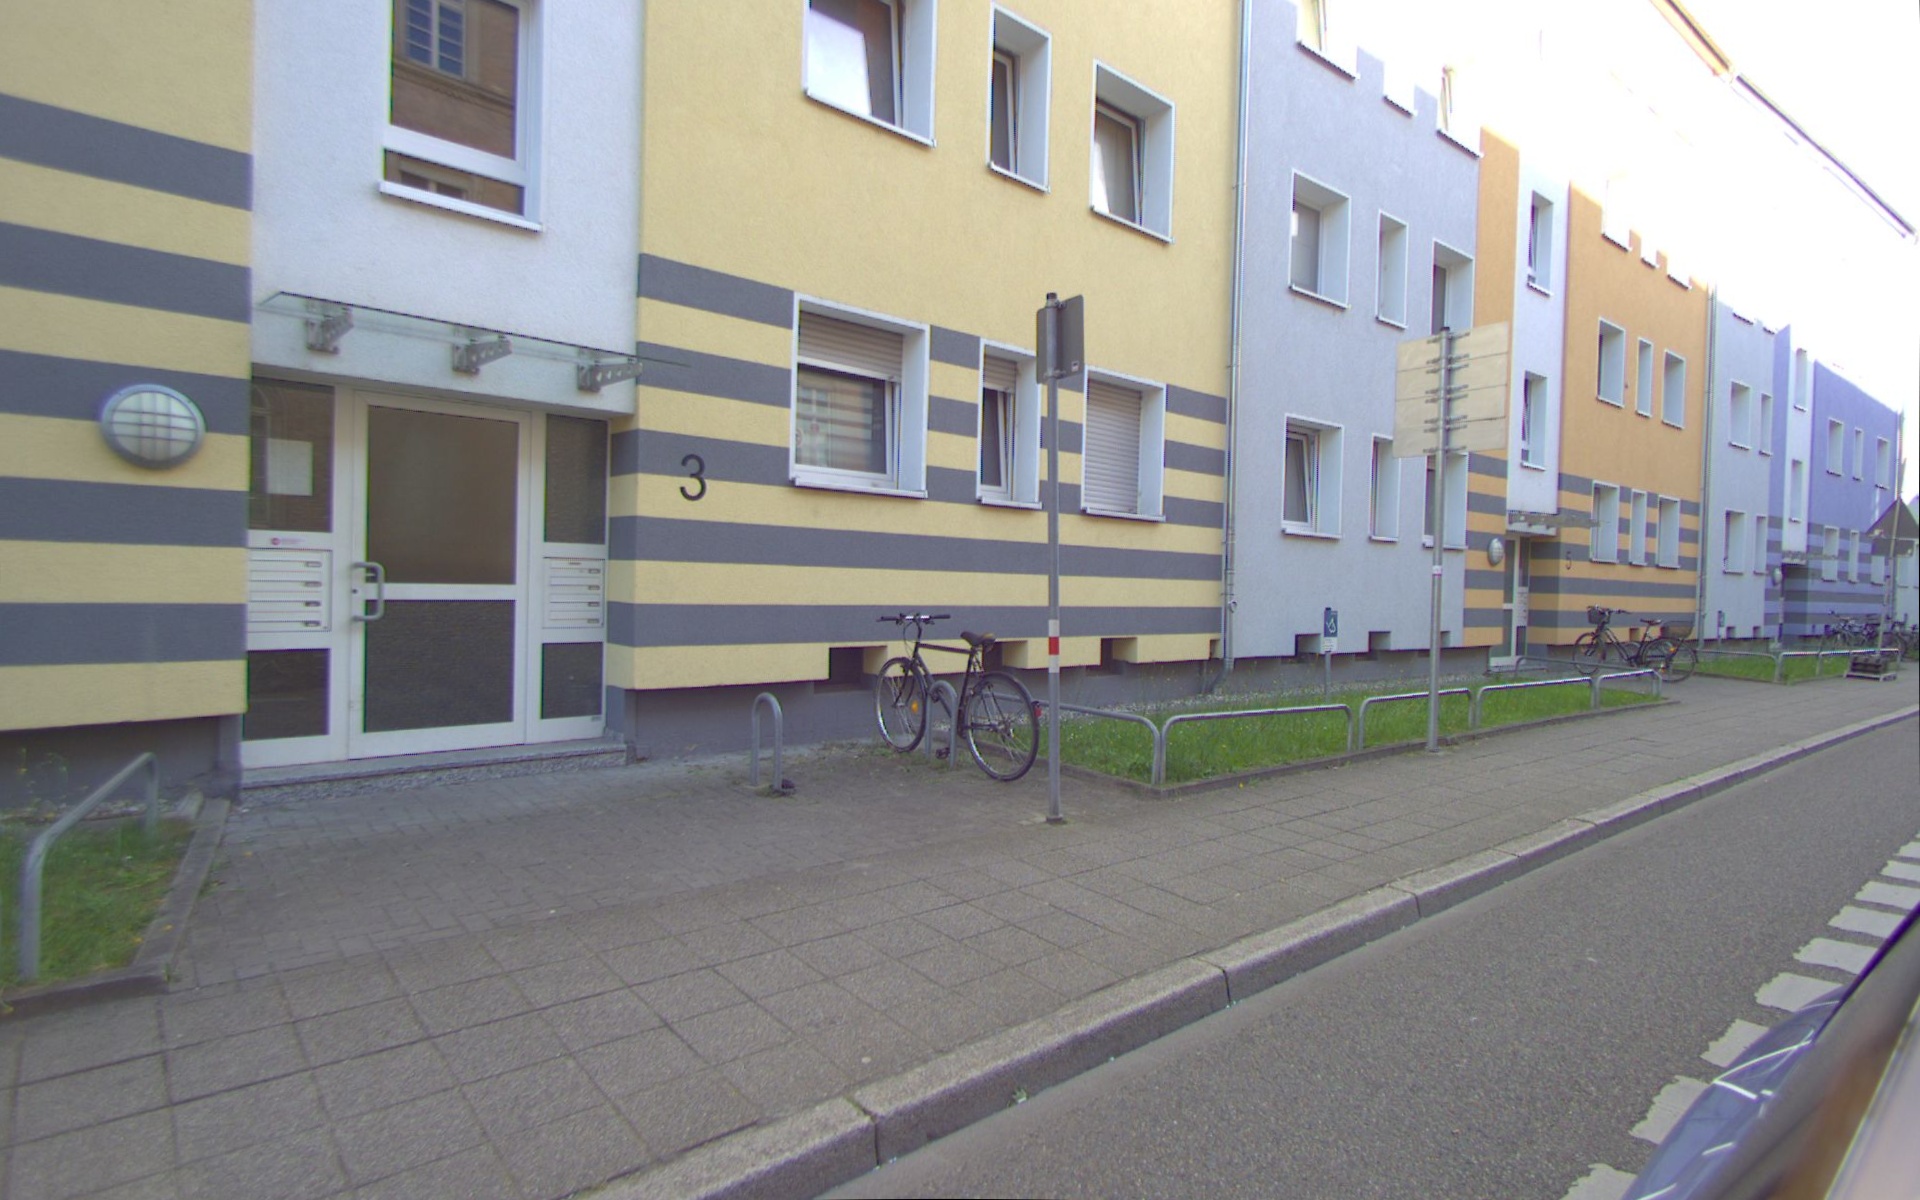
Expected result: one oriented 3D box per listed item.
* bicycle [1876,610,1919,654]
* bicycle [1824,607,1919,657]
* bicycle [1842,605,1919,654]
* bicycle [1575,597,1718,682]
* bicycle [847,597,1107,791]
[{"bbox_3d":[24.172,0.821,25.355,0.625,1.048,1.709,1,3,-42],"label":"bicycle"},{"bbox_3d":[22.284,0.759,24.685,0.624,1.058,1.711,1,2,-39],"label":"bicycle"},{"bbox_3d":[23.253,0.730,25.280,0.625,1.095,1.711,1,3,-40],"label":"bicycle"},{"bbox_3d":[10.744,0.582,15.882,0.625,1.173,1.709,1,3,-42],"label":"bicycle"},{"bbox_3d":[0.049,0.567,7.063,0.625,1.074,1.946,1,3,-42],"label":"bicycle"}]
